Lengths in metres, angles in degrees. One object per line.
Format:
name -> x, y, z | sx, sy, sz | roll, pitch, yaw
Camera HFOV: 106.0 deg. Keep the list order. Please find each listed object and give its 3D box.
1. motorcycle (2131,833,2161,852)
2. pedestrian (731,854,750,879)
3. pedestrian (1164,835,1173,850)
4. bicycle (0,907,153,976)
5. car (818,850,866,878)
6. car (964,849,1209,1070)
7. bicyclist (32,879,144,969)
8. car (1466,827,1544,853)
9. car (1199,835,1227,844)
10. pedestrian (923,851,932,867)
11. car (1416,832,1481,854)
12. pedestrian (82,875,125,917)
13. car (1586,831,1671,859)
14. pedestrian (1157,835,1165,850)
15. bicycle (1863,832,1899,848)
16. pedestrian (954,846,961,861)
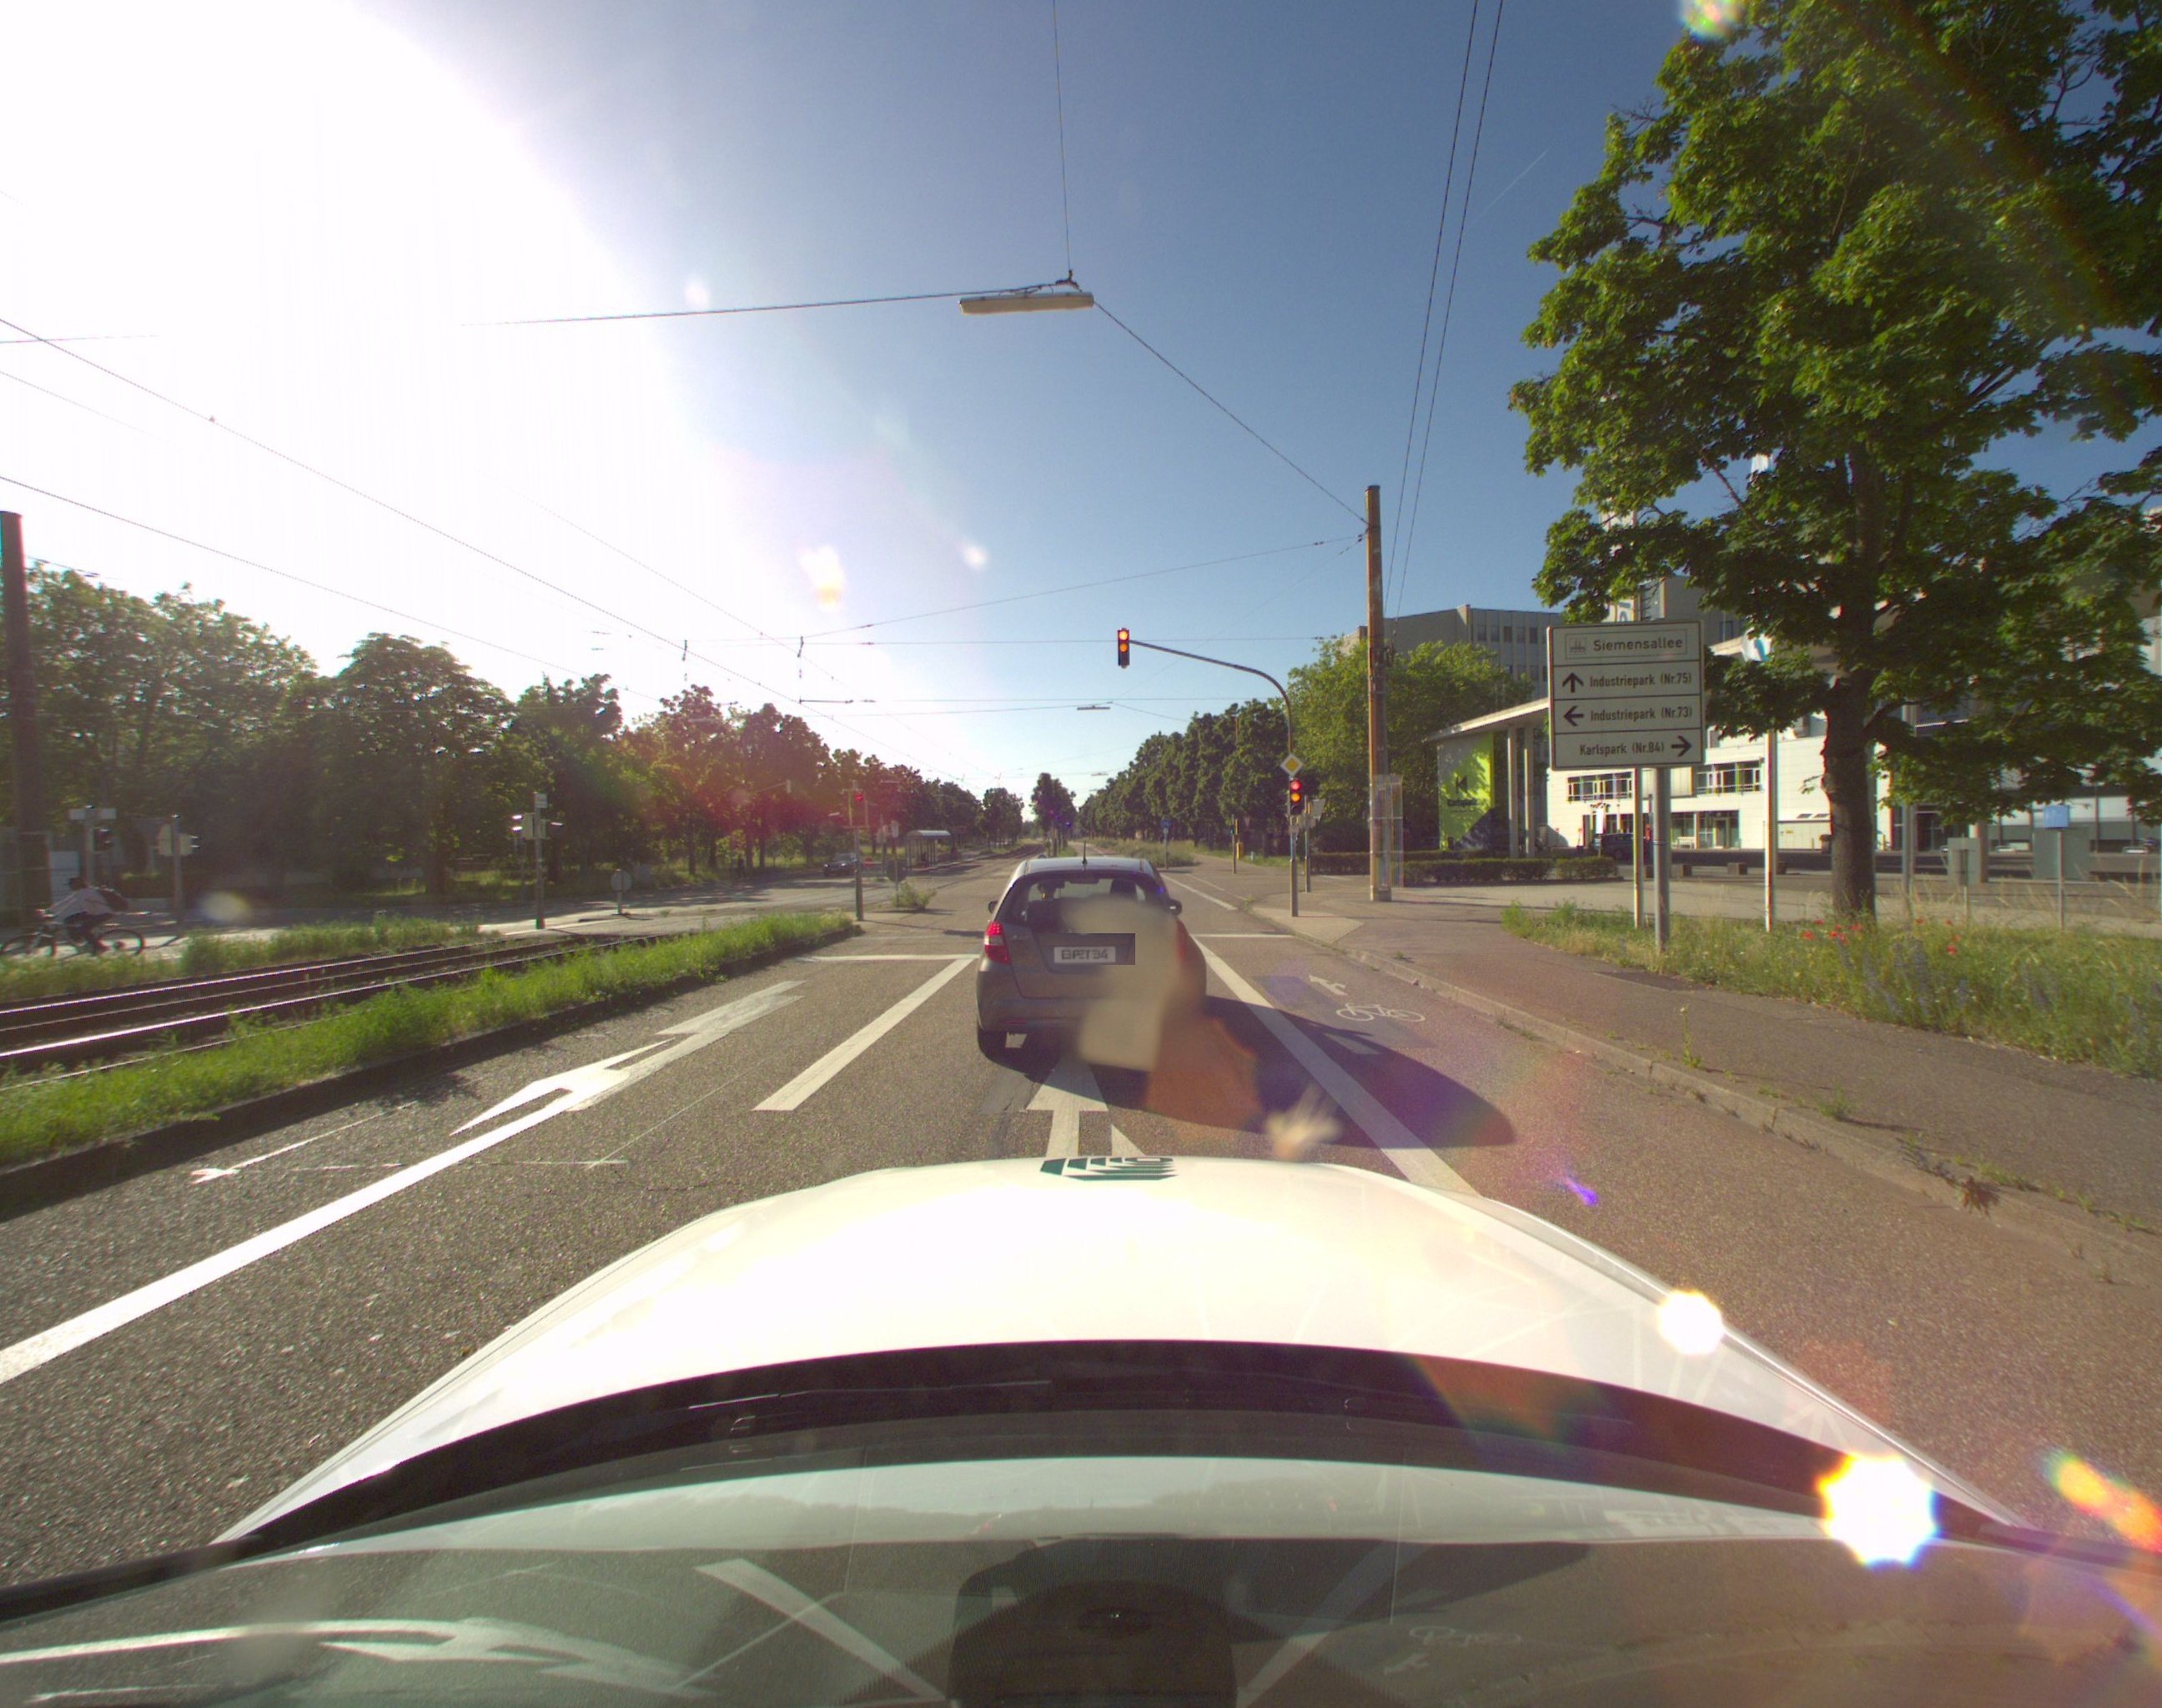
motorcycle -> 54.663, -0.587, 41.244 | 0.652, 0.947, 1.727 | -2, 1, -13
pedestrian -> -24.231, 0.903, 58.002 | 0.751, 1.734, 0.943 | -1, 1, 30
pedestrian -> 10.916, -1.438, 101.506 | 0.880, 1.884, 0.875 | -2, 1, -2
bicycle -> -19.127, 1.627, 15.524 | 0.690, 1.102, 1.792 | -1, 0, 32
car -> -17.833, 0.682, 60.992 | 2.087, 1.810, 4.792 | -4, 1, 0
car -> 0.097, 0.742, 7.543 | 1.694, 1.524, 3.711 | -1, 0, 2
bicyclist -> -19.052, 1.298, 15.642 | 0.794, 1.593, 1.244 | -1, 0, 32
car -> 31.110, -1.046, 59.761 | 4.888, 1.757, 2.082 | -2, 1, -14
car -> 23.393, -2.541, 144.237 | 4.623, 1.555, 1.997 | -2, 1, -5
pedestrian -> -12.441, 0.386, 66.001 | 0.562, 1.257, 0.581 | -4, 0, 1
car -> 30.049, -0.921, 66.653 | 4.448, 1.686, 1.892 | -2, 1, -4
pedestrian -> -42.908, 1.840, 35.753 | 0.943, 1.787, 0.824 | -2, 1, 15
car -> 33.322, -0.565, 49.631 | 3.984, 1.578, 1.949 | -1, 0, -8
pedestrian -> 9.979, -1.431, 101.508 | 0.880, 1.884, 0.875 | -2, 1, -2
bicycle -> 52.273, -0.898, 53.231 | 0.565, 1.004, 1.614 | -2, 1, -13
pedestrian -> -12.261, -0.041, 80.570 | 0.542, 1.447, 0.559 | -2, 0, 1
